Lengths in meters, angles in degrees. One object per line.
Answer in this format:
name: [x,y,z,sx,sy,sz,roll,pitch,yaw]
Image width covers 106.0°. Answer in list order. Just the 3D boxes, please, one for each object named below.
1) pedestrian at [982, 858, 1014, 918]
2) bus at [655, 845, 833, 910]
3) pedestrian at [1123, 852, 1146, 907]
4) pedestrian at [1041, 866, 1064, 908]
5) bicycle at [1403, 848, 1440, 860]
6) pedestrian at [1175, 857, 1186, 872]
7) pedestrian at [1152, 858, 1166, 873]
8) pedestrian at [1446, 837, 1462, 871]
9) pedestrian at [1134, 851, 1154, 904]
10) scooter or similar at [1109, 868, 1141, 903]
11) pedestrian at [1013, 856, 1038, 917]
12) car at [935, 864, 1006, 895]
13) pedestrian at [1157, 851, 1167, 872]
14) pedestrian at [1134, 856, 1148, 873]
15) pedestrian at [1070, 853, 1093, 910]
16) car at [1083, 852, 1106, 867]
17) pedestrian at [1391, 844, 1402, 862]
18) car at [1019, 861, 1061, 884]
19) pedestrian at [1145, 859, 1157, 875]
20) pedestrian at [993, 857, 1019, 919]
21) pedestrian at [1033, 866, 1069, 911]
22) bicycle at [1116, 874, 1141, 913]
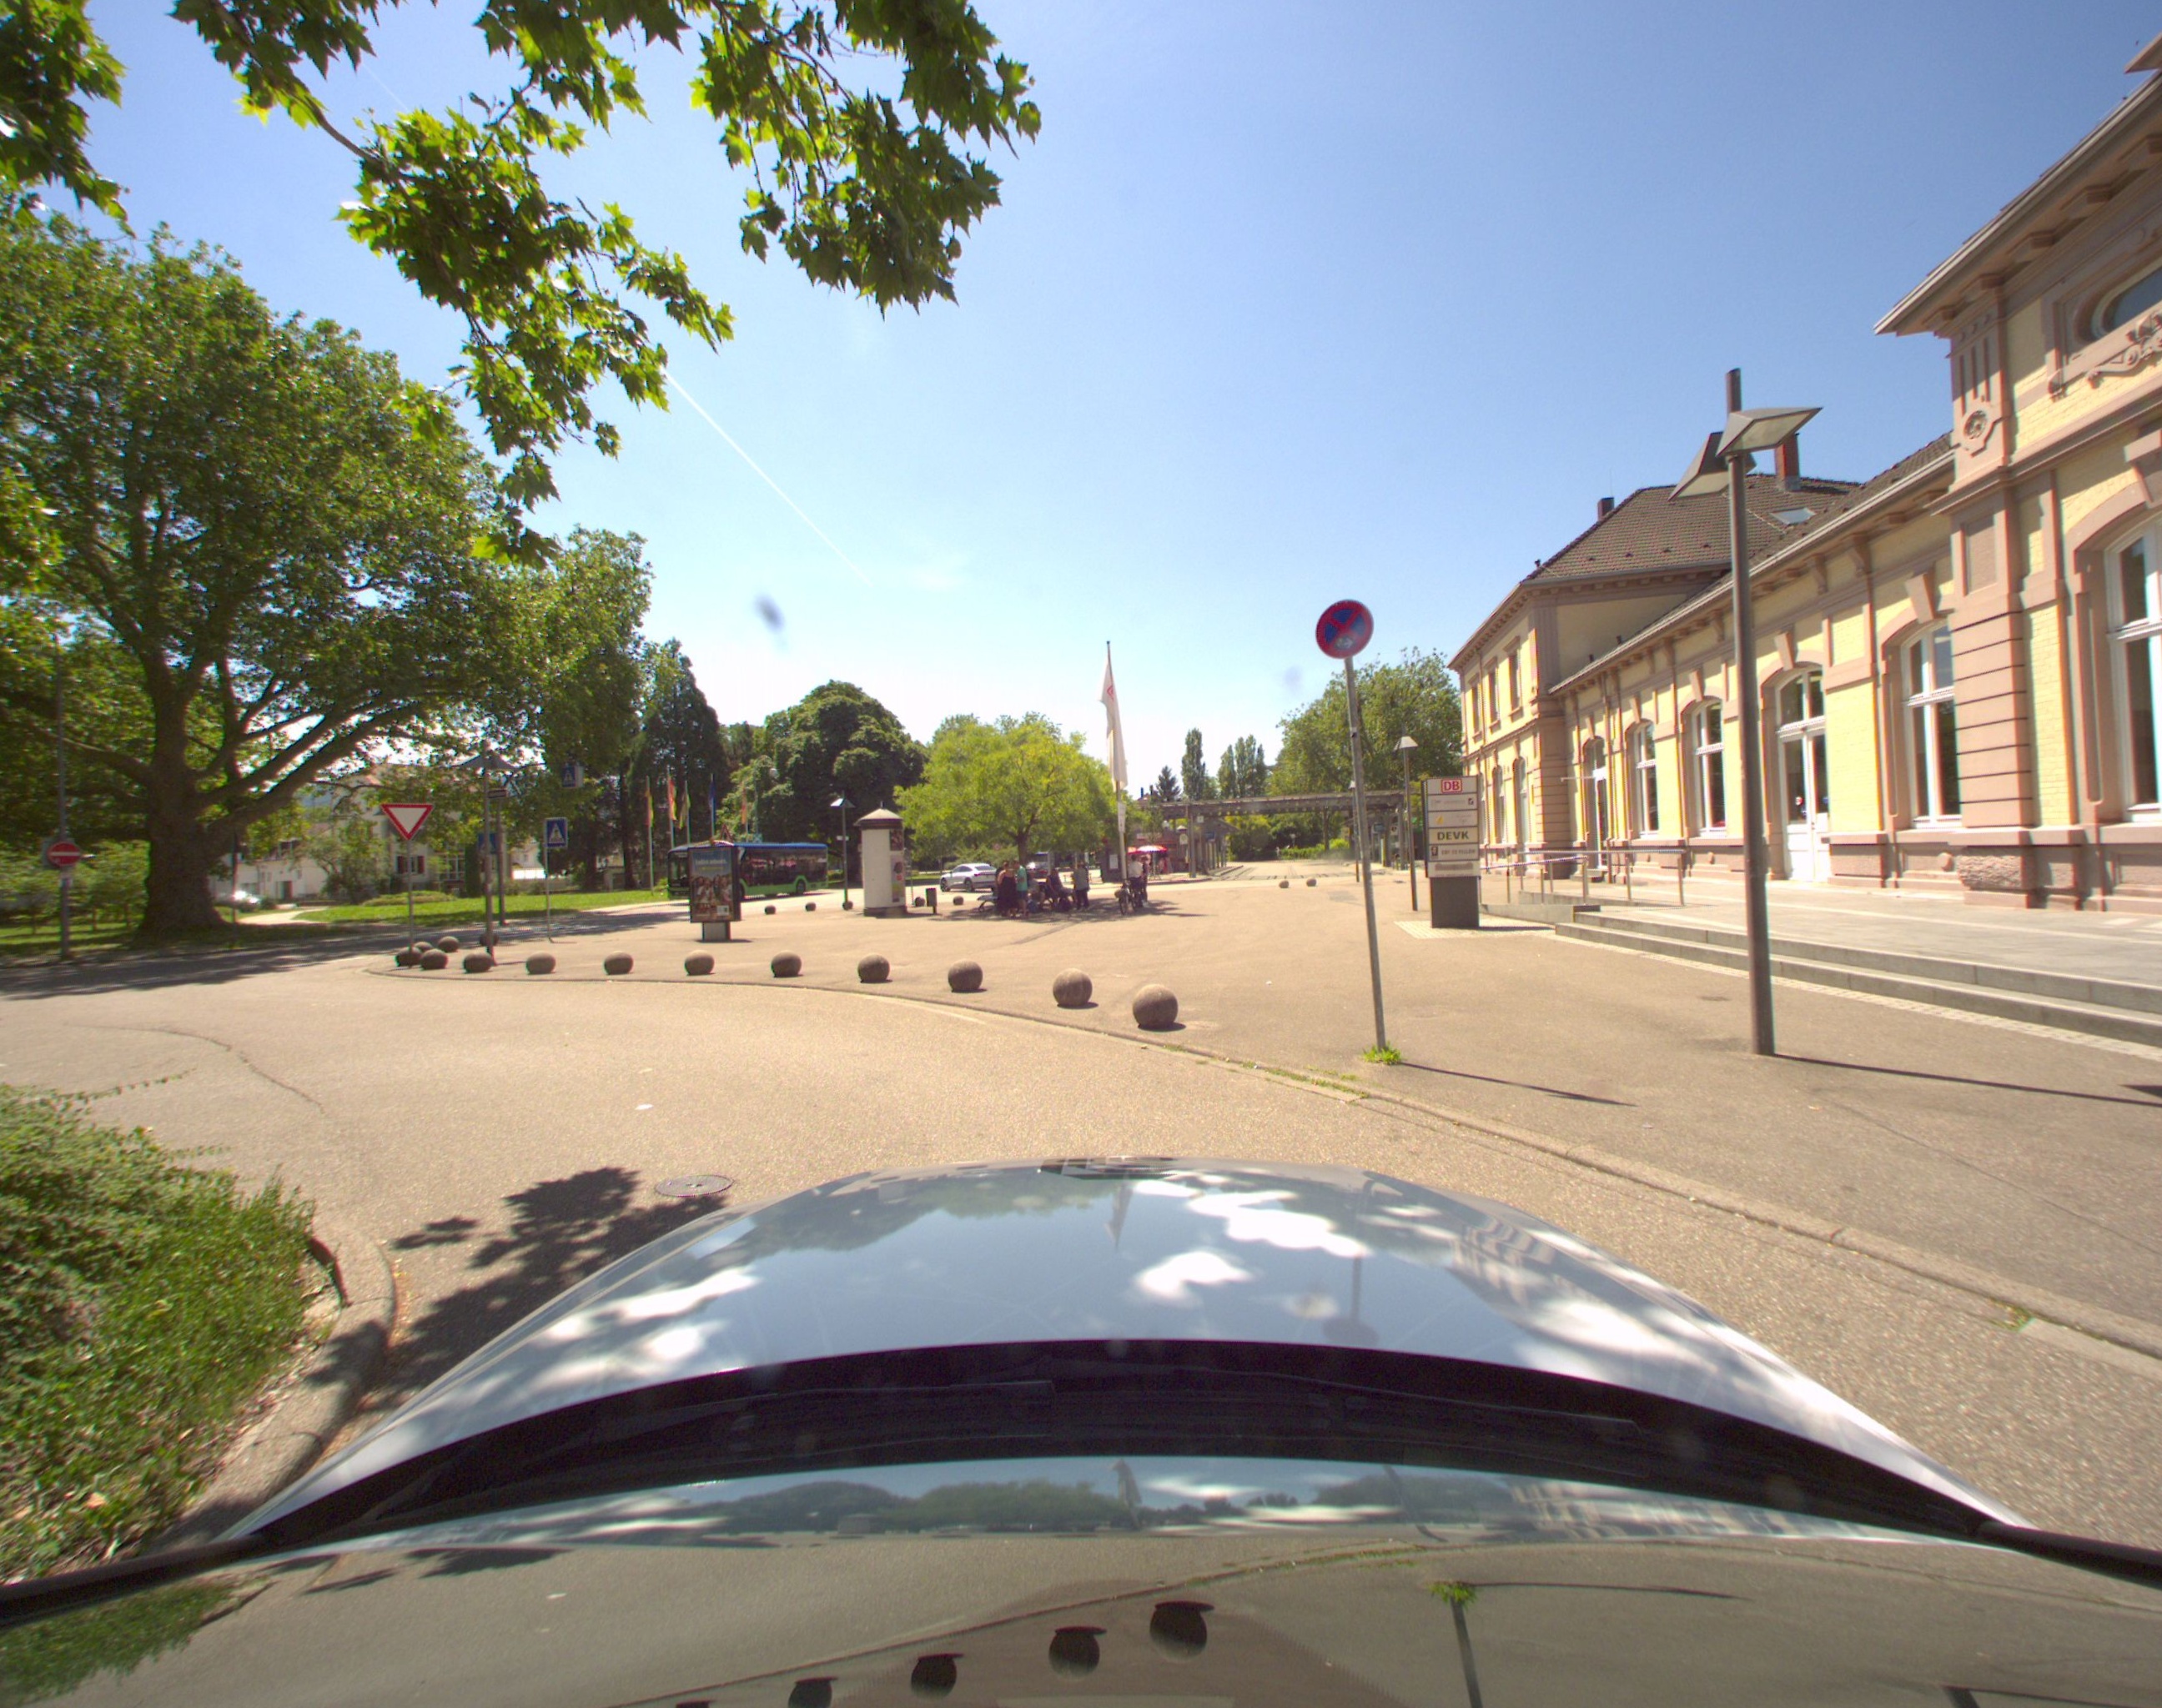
pedestrian: [-2.491,1.014,24.547,0.685,1.764,0.588,-3,-1,22]
bus: [-19.425,1.160,48.438,2.789,3.283,12.471,-3,0,14]
pedestrian: [1.681,0.787,25.702,0.615,1.685,0.591,-3,-1,1]
pedestrian: [-0.966,1.101,27.263,0.598,1.364,0.597,-3,0,-15]
bicycle: [28.685,-0.008,68.546,2.768,1.004,0.814,0,-1,11]
pedestrian: [7.844,0.823,64.261,0.753,1.205,0.740,-1,-1,14]
pedestrian: [6.216,0.934,65.131,0.895,1.161,0.683,-2,-1,-21]
pedestrian: [20.592,0.002,44.977,0.623,1.809,0.600,-3,-1,34]
pedestrian: [2.035,0.750,26.307,0.551,1.685,0.587,-3,-1,1]
scooter or similar: [1.485,1.063,27.466,1.019,1.139,0.295,-3,-1,6]
pedestrian: [-1.643,0.949,24.112,0.583,1.740,0.597,-2,-1,-12]
car: [-6.504,1.472,47.594,1.998,1.627,4.724,-3,0,-37]
pedestrian: [6.831,0.656,68.550,0.681,1.738,0.710,-3,-1,14]
pedestrian: [4.824,0.871,65.566,0.895,1.312,0.683,-2,-1,-21]
pedestrian: [0.003,0.868,25.655,0.511,1.740,0.568,-2,-1,-16]
car: [1.975,0.799,124.214,2.206,2.173,4.857,-3,0,-14]
pedestrian: [24.708,-0.061,63.773,0.620,1.395,0.679,-4,-2,13]
car: [-3.179,1.425,63.586,1.913,1.460,4.742,-5,-1,13]
pedestrian: [5.288,0.971,61.201,0.681,1.161,0.899,-3,-1,18]
pedestrian: [-2.204,0.986,23.753,0.626,1.740,0.546,-2,-1,-12]
pedestrian: [-0.972,1.084,26.037,0.912,1.386,0.939,-2,-1,-16]
bicycle: [1.419,1.152,24.085,0.417,1.060,1.955,-3,-1,12]
